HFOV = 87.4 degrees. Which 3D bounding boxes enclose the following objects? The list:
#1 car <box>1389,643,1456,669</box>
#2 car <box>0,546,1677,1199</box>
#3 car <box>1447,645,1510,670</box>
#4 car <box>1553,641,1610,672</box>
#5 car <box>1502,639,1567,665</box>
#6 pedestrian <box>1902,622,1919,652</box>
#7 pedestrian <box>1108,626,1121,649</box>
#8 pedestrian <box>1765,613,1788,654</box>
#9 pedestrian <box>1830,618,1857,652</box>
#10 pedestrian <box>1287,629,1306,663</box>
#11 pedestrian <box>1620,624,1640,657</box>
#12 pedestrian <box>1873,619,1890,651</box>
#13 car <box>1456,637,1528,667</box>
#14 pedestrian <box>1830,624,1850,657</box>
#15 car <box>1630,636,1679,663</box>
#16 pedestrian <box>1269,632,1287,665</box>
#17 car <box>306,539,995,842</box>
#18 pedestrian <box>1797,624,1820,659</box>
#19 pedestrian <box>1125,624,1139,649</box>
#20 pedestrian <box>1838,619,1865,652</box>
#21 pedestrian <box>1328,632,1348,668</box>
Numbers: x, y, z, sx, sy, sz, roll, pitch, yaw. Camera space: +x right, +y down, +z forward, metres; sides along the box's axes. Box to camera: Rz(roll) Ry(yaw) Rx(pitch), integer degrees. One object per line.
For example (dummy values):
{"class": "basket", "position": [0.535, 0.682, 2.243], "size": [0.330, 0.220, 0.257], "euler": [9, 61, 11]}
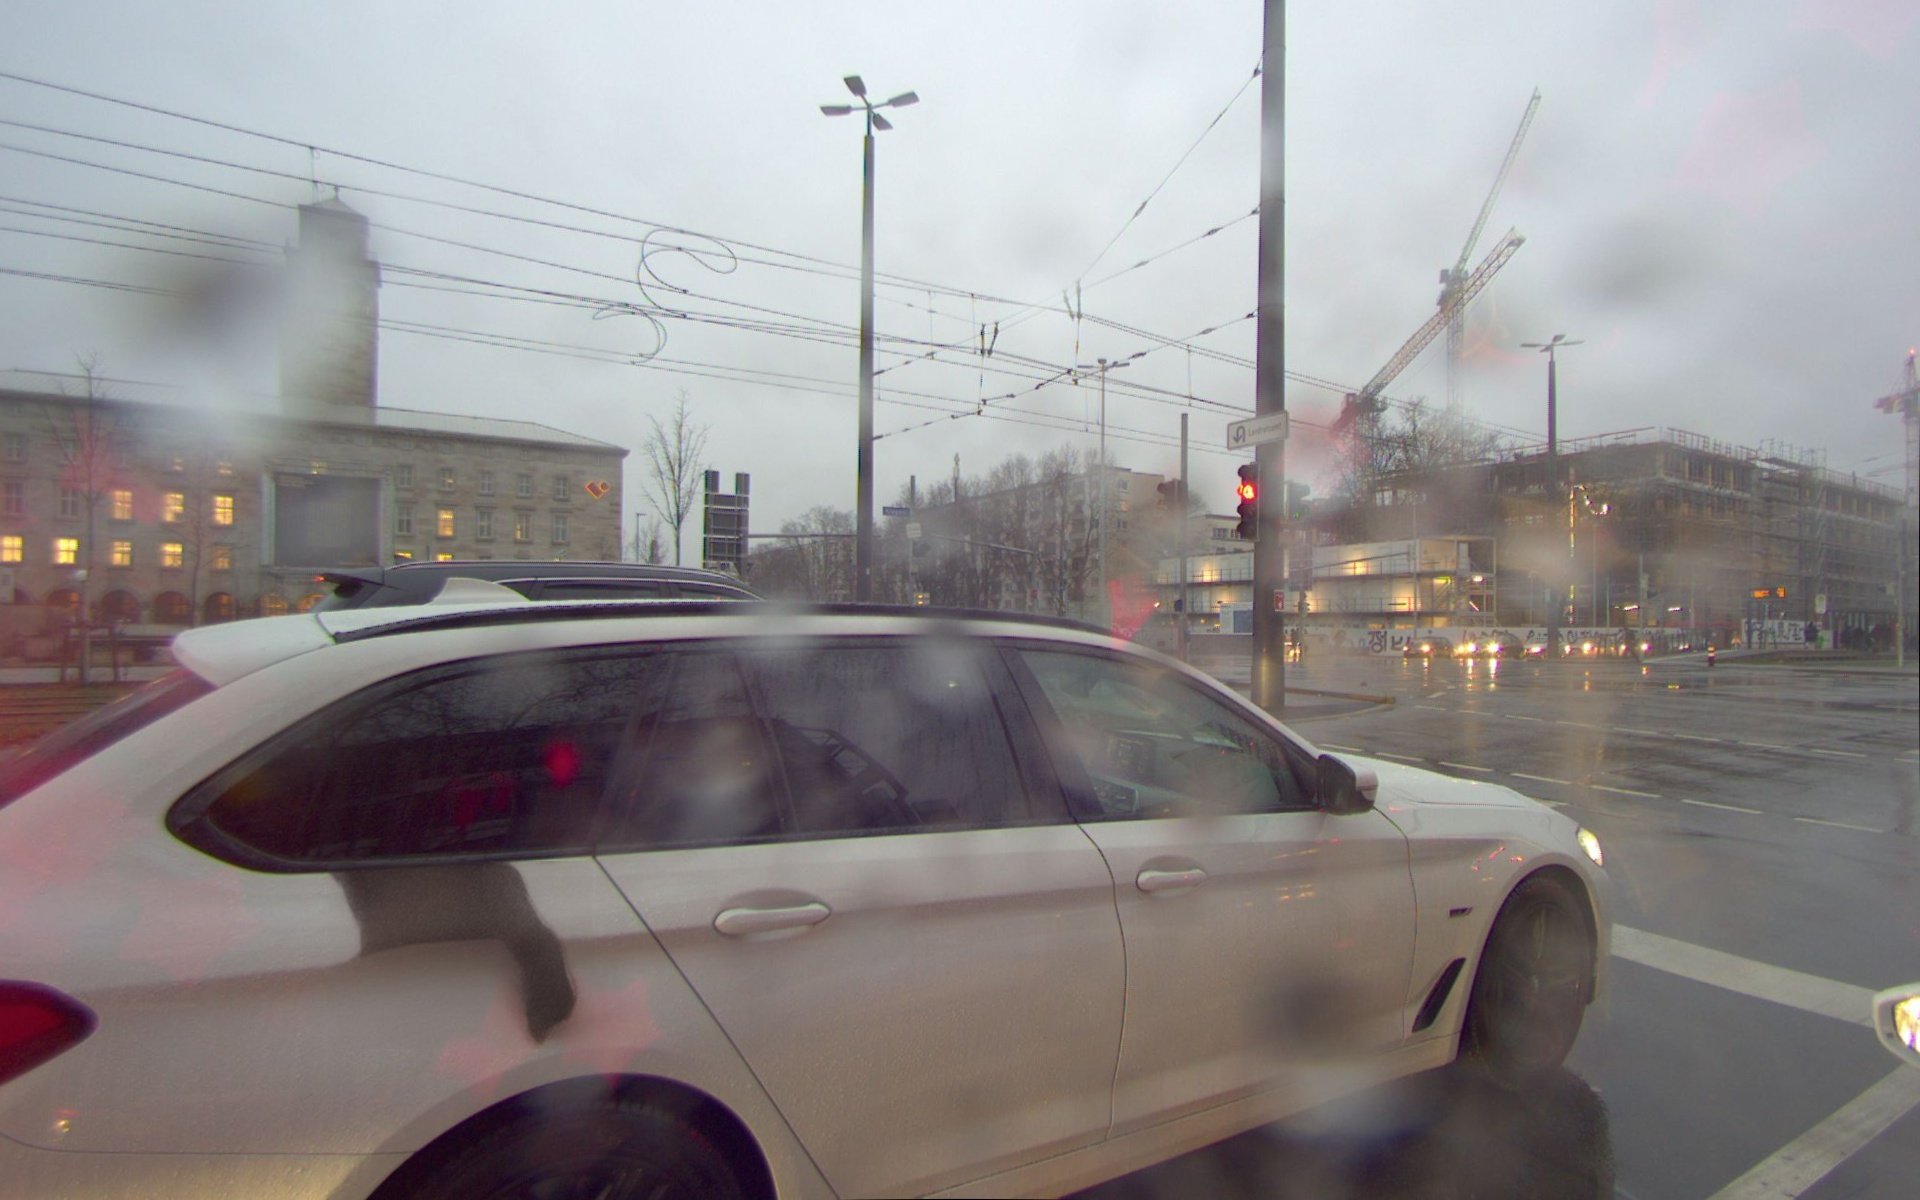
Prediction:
{"class": "car", "position": [29.327, 3.544, 63.701], "size": [3.953, 1.550, 1.984], "euler": [2, -2, -30]}
{"class": "car", "position": [0.000, 0.753, 3.106], "size": [4.508, 1.506, 2.007], "euler": [2, -2, -31]}
{"class": "car", "position": [34.928, 3.857, 67.642], "size": [3.953, 1.550, 1.984], "euler": [2, -2, -30]}
{"class": "car", "position": [41.088, 3.715, 66.387], "size": [3.963, 1.852, 1.852], "euler": [2, 0, -37]}
{"class": "car", "position": [35.882, 3.245, 62.717], "size": [4.577, 1.550, 2.059], "euler": [2, -2, -40]}
{"class": "pedestrian", "position": [66.178, 2.550, 69.708], "size": [1.082, 2.040, 0.937], "euler": [2, 0, -32]}
{"class": "pedestrian", "position": [12.181, 2.918, 79.197], "size": [0.714, 1.800, 0.789], "euler": [1, -1, -23]}
{"class": "pedestrian", "position": [47.150, 1.934, 57.979], "size": [0.754, 2.354, 0.761], "euler": [3, -1, -30]}
{"class": "pedestrian", "position": [54.405, 2.155, 61.825], "size": [1.082, 2.040, 0.937], "euler": [2, 0, -32]}
{"class": "pedestrian", "position": [20.980, 2.860, 62.711], "size": [0.737, 2.040, 0.783], "euler": [2, 0, -25]}
{"class": "pedestrian", "position": [29.872, 1.804, 44.773], "size": [0.718, 1.407, 0.722], "euler": [2, 0, 35]}
{"class": "pedestrian", "position": [57.975, 2.191, 63.200], "size": [0.659, 1.994, 0.566], "euler": [2, 1, -36]}
{"class": "car", "position": [31.339, 3.051, 59.123], "size": [3.953, 1.679, 1.984], "euler": [2, -2, -30]}
{"class": "pedestrian", "position": [51.281, 2.340, 58.539], "size": [0.547, 1.906, 0.695], "euler": [2, 0, -30]}
{"class": "car", "position": [50.683, 3.605, 73.293], "size": [3.969, 1.814, 1.976], "euler": [2, 0, -41]}
{"class": "pedestrian", "position": [19.992, 3.054, 63.110], "size": [0.619, 2.040, 0.857], "euler": [2, 0, -33]}
{"class": "car", "position": [-2.065, 0.555, 7.232], "size": [4.238, 1.605, 1.958], "euler": [2, -1, -29]}
{"class": "pedestrian", "position": [48.646, 2.373, 57.589], "size": [0.754, 1.922, 0.761], "euler": [3, -1, -30]}
{"class": "pedestrian", "position": [13.644, 2.894, 79.604], "size": [0.709, 1.927, 0.787], "euler": [1, -1, -31]}
{"class": "pedestrian", "position": [55.778, 2.202, 62.832], "size": [1.082, 2.040, 0.937], "euler": [2, 0, -32]}
{"class": "pedestrian", "position": [23.857, 3.133, 63.321], "size": [0.758, 2.194, 0.867], "euler": [2, 0, -38]}
